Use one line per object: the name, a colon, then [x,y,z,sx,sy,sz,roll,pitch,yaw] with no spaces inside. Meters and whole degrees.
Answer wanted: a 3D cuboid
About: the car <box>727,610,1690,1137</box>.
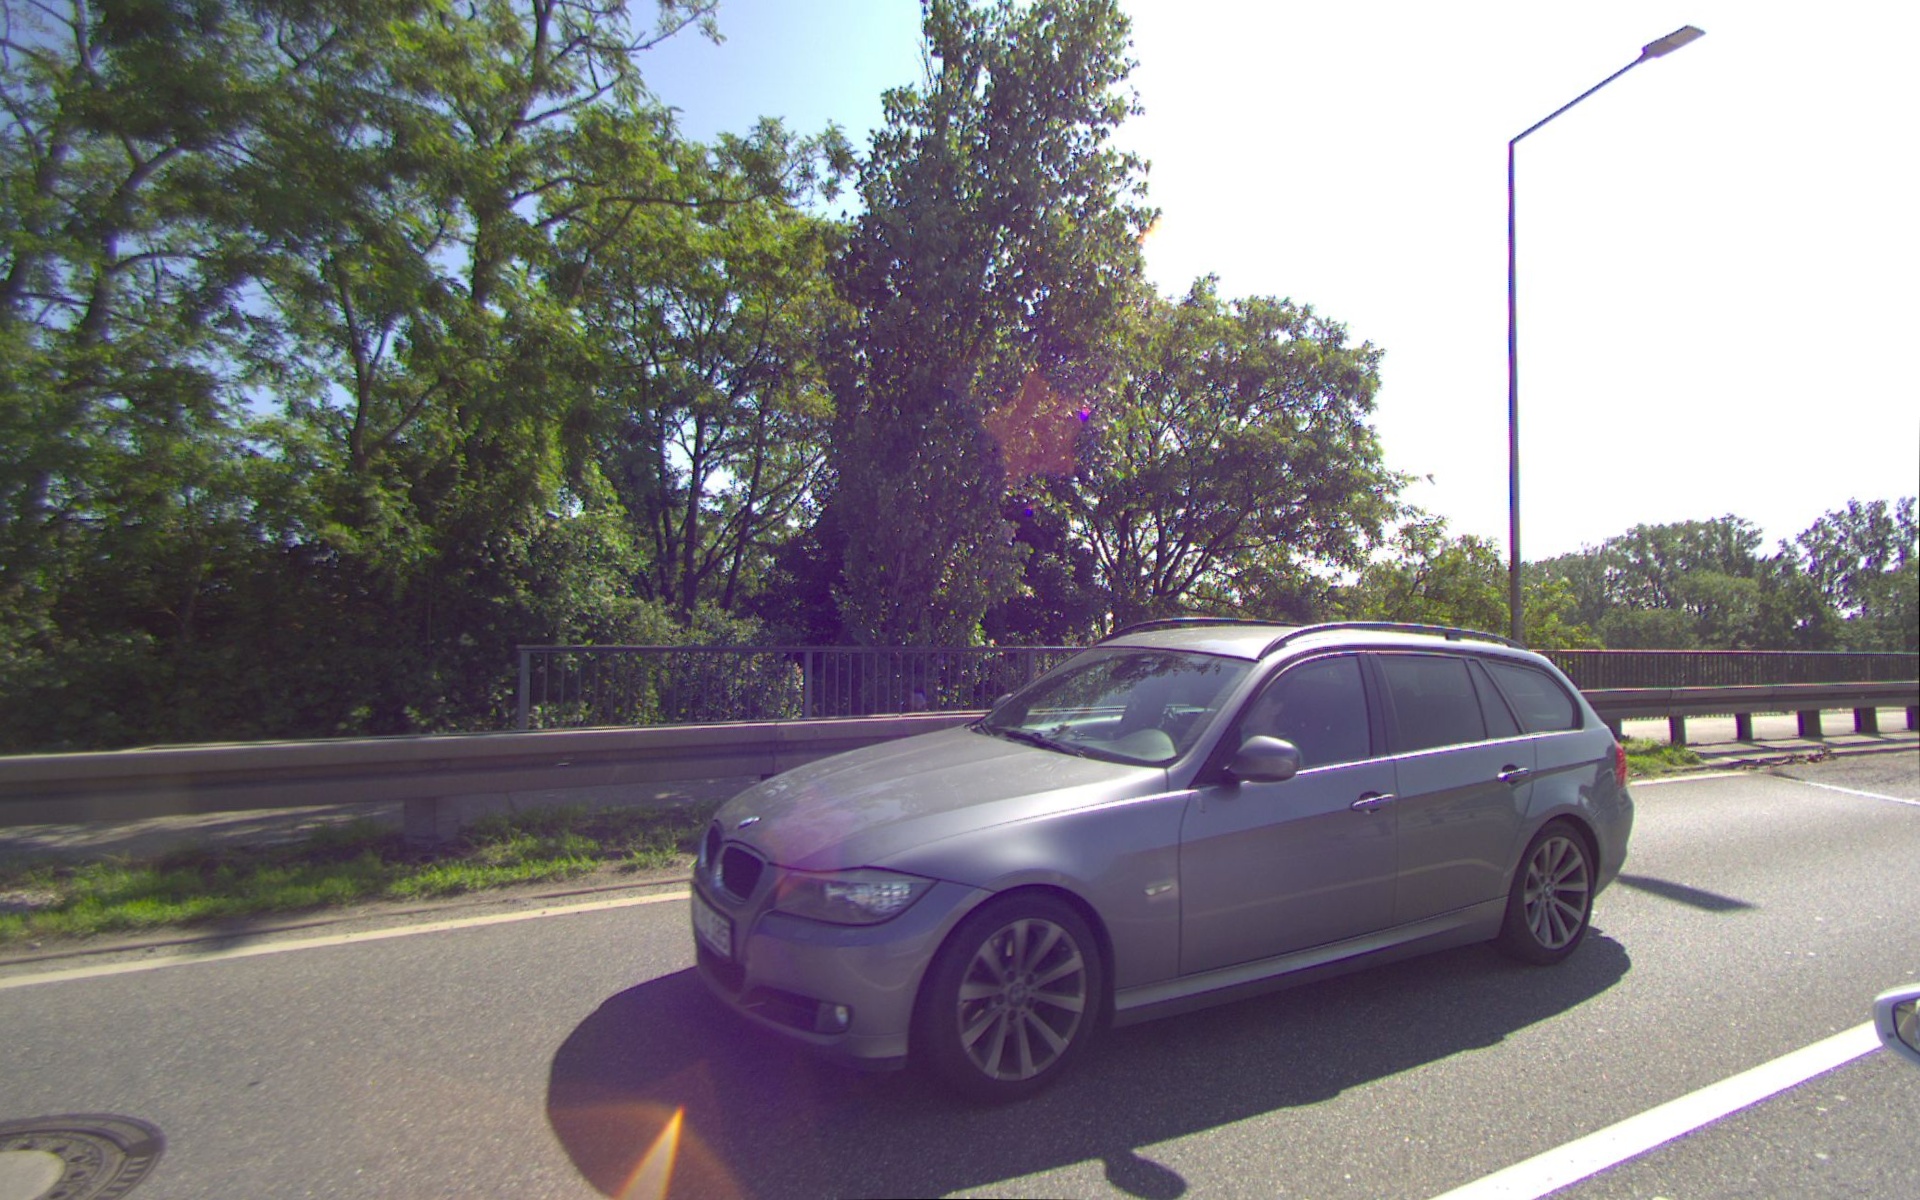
car: [1.231,0.799,4.498,4.131,1.416,1.709,1,0,-29]
